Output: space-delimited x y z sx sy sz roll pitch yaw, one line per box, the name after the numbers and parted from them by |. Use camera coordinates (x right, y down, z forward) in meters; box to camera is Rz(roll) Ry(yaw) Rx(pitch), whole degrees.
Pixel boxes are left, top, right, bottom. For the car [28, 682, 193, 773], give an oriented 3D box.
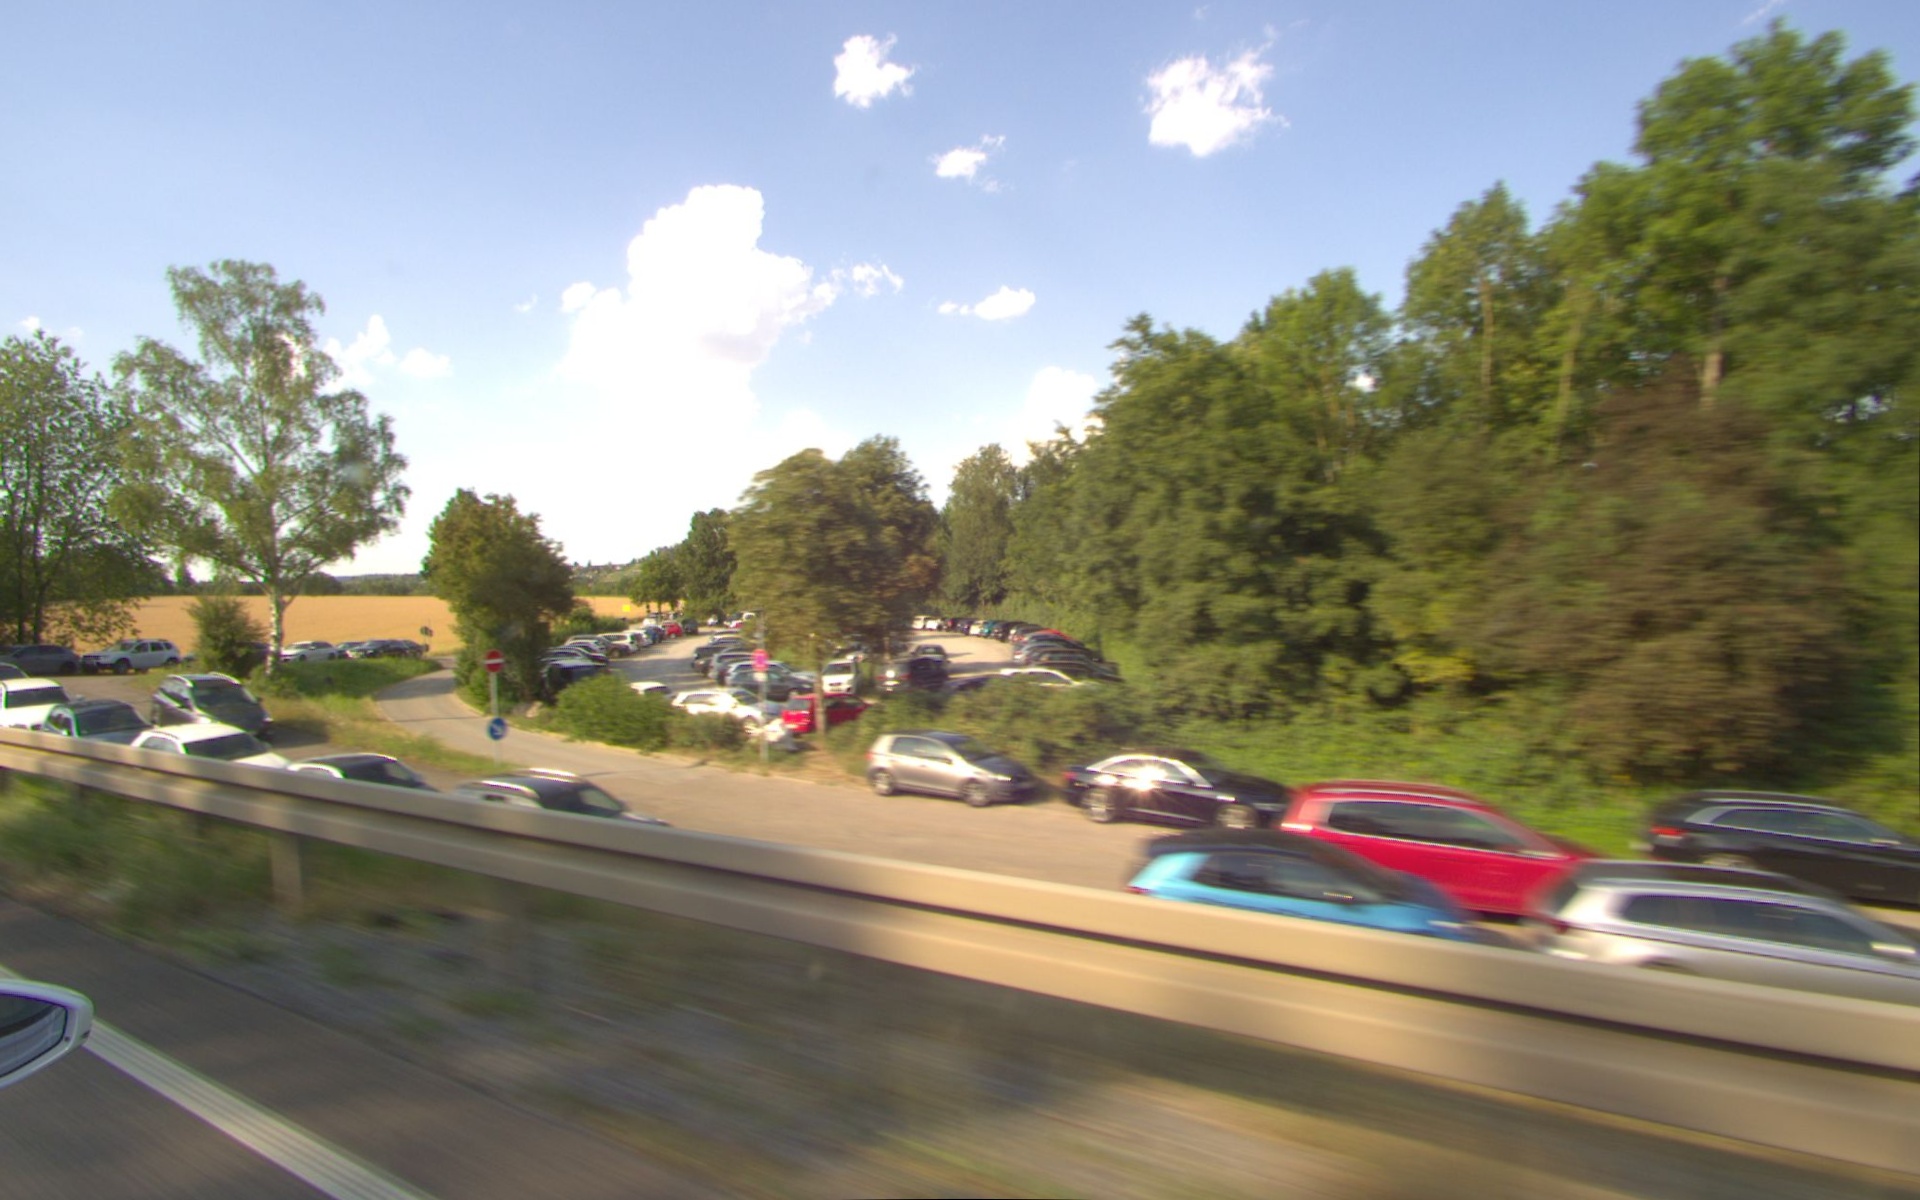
-21.194 3.077 24.934 4.715 1.581 1.886 1 4 34 | car

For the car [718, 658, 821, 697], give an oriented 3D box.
-8.976 3.661 47.376 4.507 1.713 1.804 0 0 4 | car

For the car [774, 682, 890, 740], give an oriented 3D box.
-4.256 3.683 33.692 1.635 1.563 3.746 -1 -1 41 | car

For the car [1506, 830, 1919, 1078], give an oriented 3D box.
8.702 3.759 10.861 4.703 1.581 1.891 1 3 24 | car

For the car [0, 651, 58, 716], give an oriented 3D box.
-29.813 2.526 30.761 4.713 1.581 1.887 1 3 32 | car

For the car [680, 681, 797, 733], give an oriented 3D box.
-7.985 3.822 36.077 3.938 1.563 1.796 -1 -1 28 | car

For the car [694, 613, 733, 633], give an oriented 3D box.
-29.453 2.726 119.706 2.316 2.272 5.666 -2 0 11 | car

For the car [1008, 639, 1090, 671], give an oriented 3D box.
4.980 3.054 56.019 4.508 1.713 1.803 0 0 7 | car

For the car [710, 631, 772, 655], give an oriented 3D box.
-16.519 3.270 75.789 4.511 1.713 1.802 0 0 -11 | car

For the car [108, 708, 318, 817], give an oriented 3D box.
-16.234 3.410 21.719 4.710 1.581 1.888 1 3 30 | car

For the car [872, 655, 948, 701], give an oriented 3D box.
-2.151 3.409 44.576 1.787 1.776 4.139 0 -1 23 | car

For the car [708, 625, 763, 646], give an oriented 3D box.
-19.074 3.045 85.263 4.511 1.713 1.802 0 0 -11 | car

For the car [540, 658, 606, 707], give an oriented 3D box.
-17.497 3.652 45.118 1.780 1.866 4.566 0 -1 -34 | car

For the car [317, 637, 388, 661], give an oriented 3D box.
-40.545 3.248 66.977 1.961 1.526 4.646 0 -2 0 | car

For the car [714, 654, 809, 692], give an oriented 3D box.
-9.997 3.632 50.474 4.517 1.713 1.799 0 0 -19 | car

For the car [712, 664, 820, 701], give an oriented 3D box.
-8.710 3.692 45.159 4.507 1.563 1.804 0 0 4 | car

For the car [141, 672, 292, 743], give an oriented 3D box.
-20.836 2.925 28.007 4.715 1.696 1.888 -1 -2 33 | car

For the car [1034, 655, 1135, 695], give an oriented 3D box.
5.659 3.417 45.718 4.508 1.713 1.803 0 0 7 | car

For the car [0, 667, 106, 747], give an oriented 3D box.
-25.524 2.879 27.701 4.720 1.581 1.884 2 4 37 | car

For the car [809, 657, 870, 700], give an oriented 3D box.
-5.420 3.497 45.424 1.623 1.692 4.149 0 -1 10 | car

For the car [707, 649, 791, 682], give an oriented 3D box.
-11.683 3.606 55.589 4.511 1.713 1.802 0 0 -11 | car

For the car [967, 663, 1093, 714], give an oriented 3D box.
2.671 3.302 37.706 4.510 1.713 1.802 0 0 13 | car

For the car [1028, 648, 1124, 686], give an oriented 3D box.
5.532 3.194 47.868 4.508 1.713 1.803 0 0 7 | car

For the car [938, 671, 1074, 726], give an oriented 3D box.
1.628 3.409 34.993 4.510 1.713 1.802 0 0 13 | car

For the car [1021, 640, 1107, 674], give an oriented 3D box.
5.562 3.048 53.802 4.508 1.713 1.803 0 0 7 | car

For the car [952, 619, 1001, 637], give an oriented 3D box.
1.600 2.641 95.635 4.508 1.713 1.803 0 0 7 | car

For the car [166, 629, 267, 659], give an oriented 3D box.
-38.060 2.272 51.412 1.776 1.459 4.593 1 -2 -1 | car

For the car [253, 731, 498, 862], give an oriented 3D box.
-11.127 3.600 19.003 4.710 1.581 1.888 1 3 30 | car

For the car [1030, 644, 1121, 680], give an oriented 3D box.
5.862 3.133 50.889 4.508 1.713 1.803 0 0 7 | car

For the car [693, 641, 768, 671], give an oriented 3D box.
-14.299 3.483 62.718 4.511 1.713 1.802 0 0 -11 | car

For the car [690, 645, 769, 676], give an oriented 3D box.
-13.783 3.593 60.087 4.511 1.713 1.802 0 0 -11 | car

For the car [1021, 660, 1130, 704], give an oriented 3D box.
4.901 3.454 42.592 4.508 1.713 1.803 0 0 7 | car

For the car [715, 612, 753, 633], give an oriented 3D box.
-26.831 2.625 119.127 2.316 2.272 5.666 -2 0 11 | car

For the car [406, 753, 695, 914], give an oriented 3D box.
-6.792 3.692 16.505 4.710 1.581 1.888 1 3 30 | car

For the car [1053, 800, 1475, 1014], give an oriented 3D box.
3.686 3.689 12.597 4.697 1.581 1.893 0 3 19 | car
